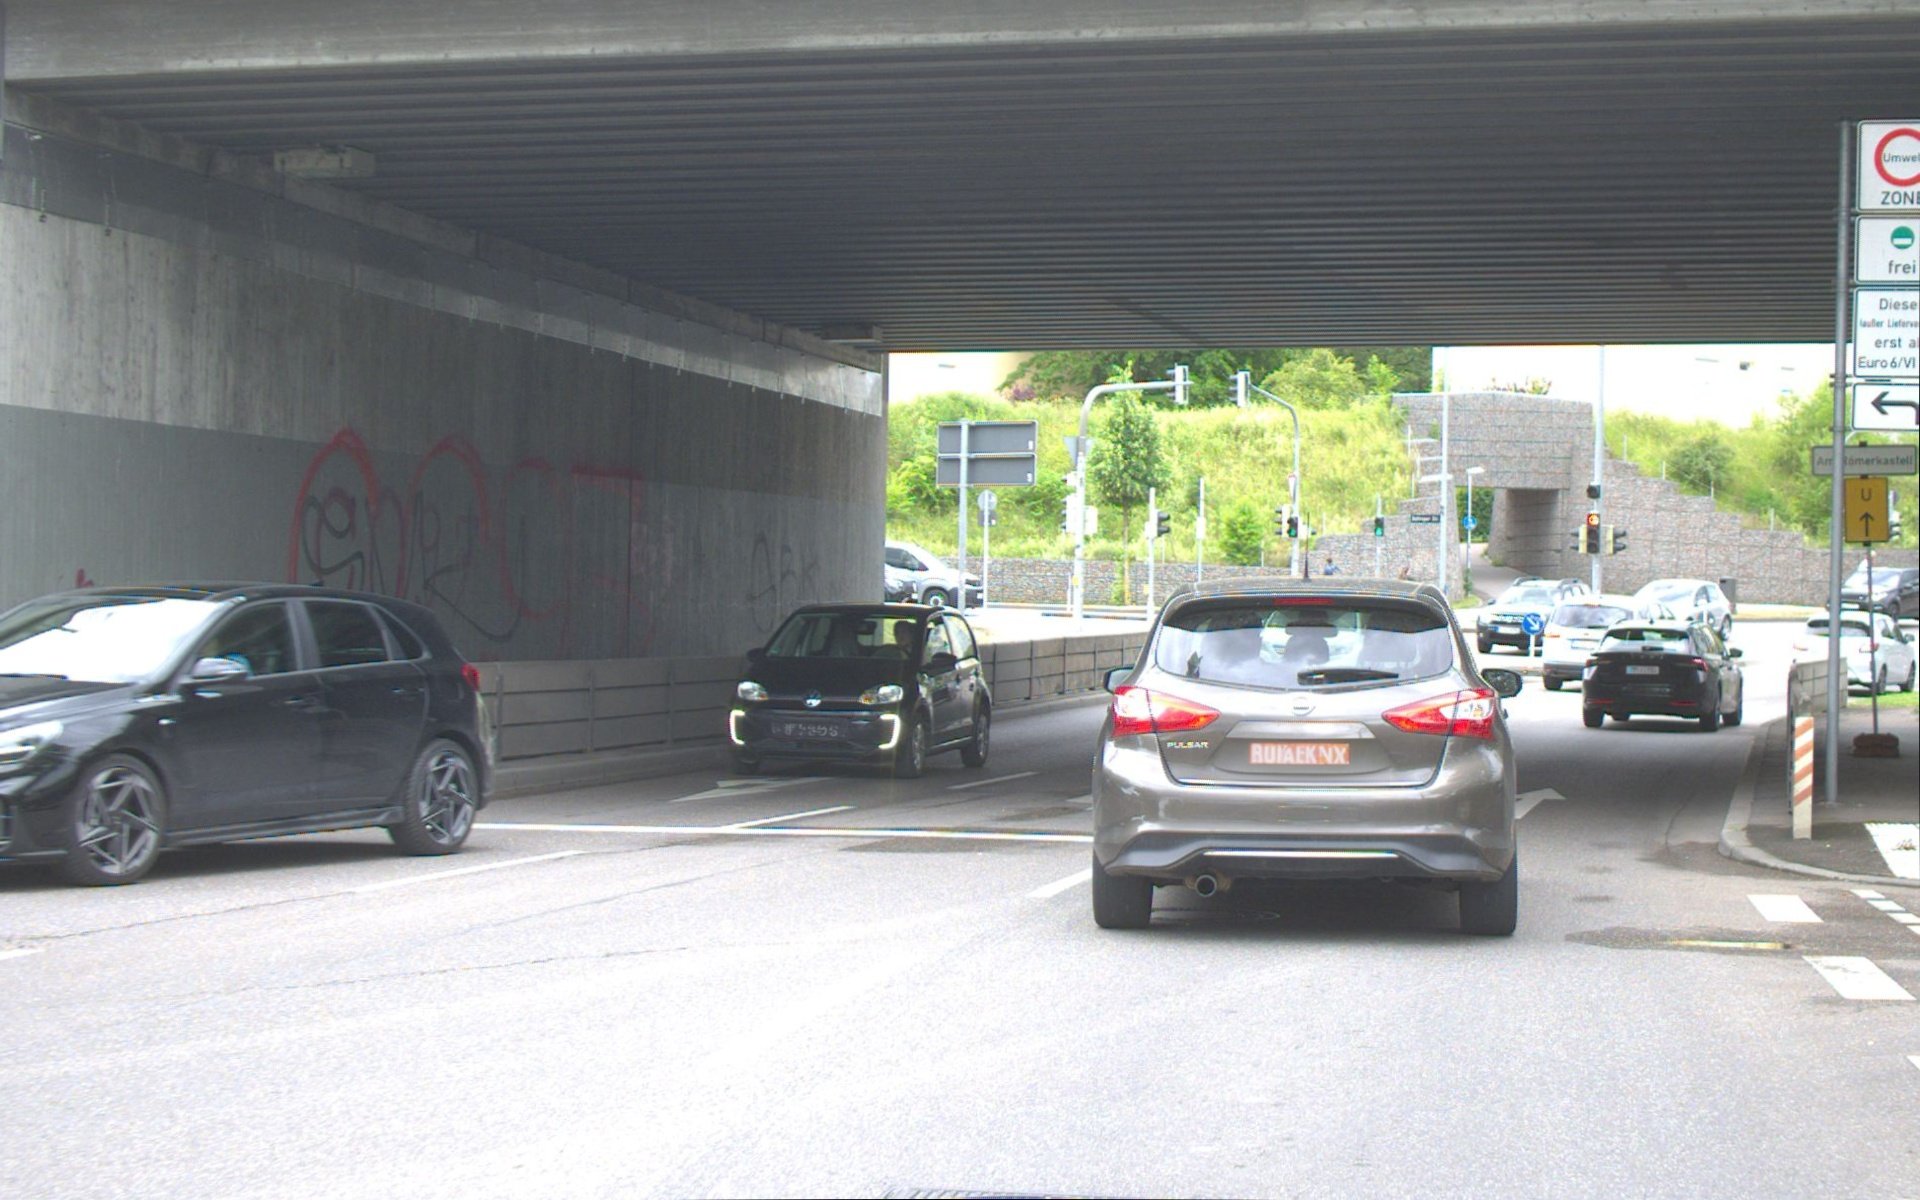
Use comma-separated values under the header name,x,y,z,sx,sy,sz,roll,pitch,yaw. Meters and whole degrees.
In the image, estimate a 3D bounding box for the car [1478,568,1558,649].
name,x,y,z,sx,sy,sz,roll,pitch,yaw
car,12.354,0.162,76.096,1.687,1.702,3.788,1,1,9

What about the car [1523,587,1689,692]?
name,x,y,z,sx,sy,sz,roll,pitch,yaw
car,11.223,0.669,59.559,1.832,1.700,3.863,2,1,26

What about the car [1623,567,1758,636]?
name,x,y,z,sx,sy,sz,roll,pitch,yaw
car,18.207,0.027,85.611,1.997,1.634,3.992,1,1,33

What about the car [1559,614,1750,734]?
name,x,y,z,sx,sy,sz,roll,pitch,yaw
car,9.399,0.963,46.305,1.902,1.461,3.996,1,1,20

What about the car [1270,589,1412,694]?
name,x,y,z,sx,sy,sz,roll,pitch,yaw
car,6.475,0.696,58.040,1.784,1.654,4.105,1,0,14

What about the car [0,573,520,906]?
name,x,y,z,sx,sy,sz,roll,pitch,yaw
car,-4.177,0.623,17.579,1.819,1.472,4.131,2,0,26

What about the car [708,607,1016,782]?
name,x,y,z,sx,sy,sz,roll,pitch,yaw
car,-0.780,0.795,30.094,1.724,1.405,3.997,1,-1,13

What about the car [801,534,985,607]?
name,x,y,z,sx,sy,sz,roll,pitch,yaw
car,-1.602,-0.702,82.814,3.991,1.590,1.870,2,1,19

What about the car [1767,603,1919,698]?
name,x,y,z,sx,sy,sz,roll,pitch,yaw
car,15.989,0.884,62.119,1.996,1.612,3.995,1,0,24

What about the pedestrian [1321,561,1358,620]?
name,x,y,z,sx,sy,sz,roll,pitch,yaw
pedestrian,10.676,-0.274,96.725,0.952,1.607,0.699,2,1,5

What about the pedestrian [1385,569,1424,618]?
name,x,y,z,sx,sy,sz,roll,pitch,yaw
pedestrian,11.794,-0.181,91.207,0.910,1.219,0.729,4,1,6

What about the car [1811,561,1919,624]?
name,x,y,z,sx,sy,sz,roll,pitch,yaw
car,25.338,-0.193,96.037,1.997,1.692,4.161,1,0,29

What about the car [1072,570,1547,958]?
name,x,y,z,sx,sy,sz,roll,pitch,yaw
car,1.548,0.657,15.645,1.845,1.488,3.999,1,0,5

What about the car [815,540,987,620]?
name,x,y,z,sx,sy,sz,roll,pitch,yaw
car,-1.480,-0.505,87.280,3.989,1.941,1.999,1,0,12
